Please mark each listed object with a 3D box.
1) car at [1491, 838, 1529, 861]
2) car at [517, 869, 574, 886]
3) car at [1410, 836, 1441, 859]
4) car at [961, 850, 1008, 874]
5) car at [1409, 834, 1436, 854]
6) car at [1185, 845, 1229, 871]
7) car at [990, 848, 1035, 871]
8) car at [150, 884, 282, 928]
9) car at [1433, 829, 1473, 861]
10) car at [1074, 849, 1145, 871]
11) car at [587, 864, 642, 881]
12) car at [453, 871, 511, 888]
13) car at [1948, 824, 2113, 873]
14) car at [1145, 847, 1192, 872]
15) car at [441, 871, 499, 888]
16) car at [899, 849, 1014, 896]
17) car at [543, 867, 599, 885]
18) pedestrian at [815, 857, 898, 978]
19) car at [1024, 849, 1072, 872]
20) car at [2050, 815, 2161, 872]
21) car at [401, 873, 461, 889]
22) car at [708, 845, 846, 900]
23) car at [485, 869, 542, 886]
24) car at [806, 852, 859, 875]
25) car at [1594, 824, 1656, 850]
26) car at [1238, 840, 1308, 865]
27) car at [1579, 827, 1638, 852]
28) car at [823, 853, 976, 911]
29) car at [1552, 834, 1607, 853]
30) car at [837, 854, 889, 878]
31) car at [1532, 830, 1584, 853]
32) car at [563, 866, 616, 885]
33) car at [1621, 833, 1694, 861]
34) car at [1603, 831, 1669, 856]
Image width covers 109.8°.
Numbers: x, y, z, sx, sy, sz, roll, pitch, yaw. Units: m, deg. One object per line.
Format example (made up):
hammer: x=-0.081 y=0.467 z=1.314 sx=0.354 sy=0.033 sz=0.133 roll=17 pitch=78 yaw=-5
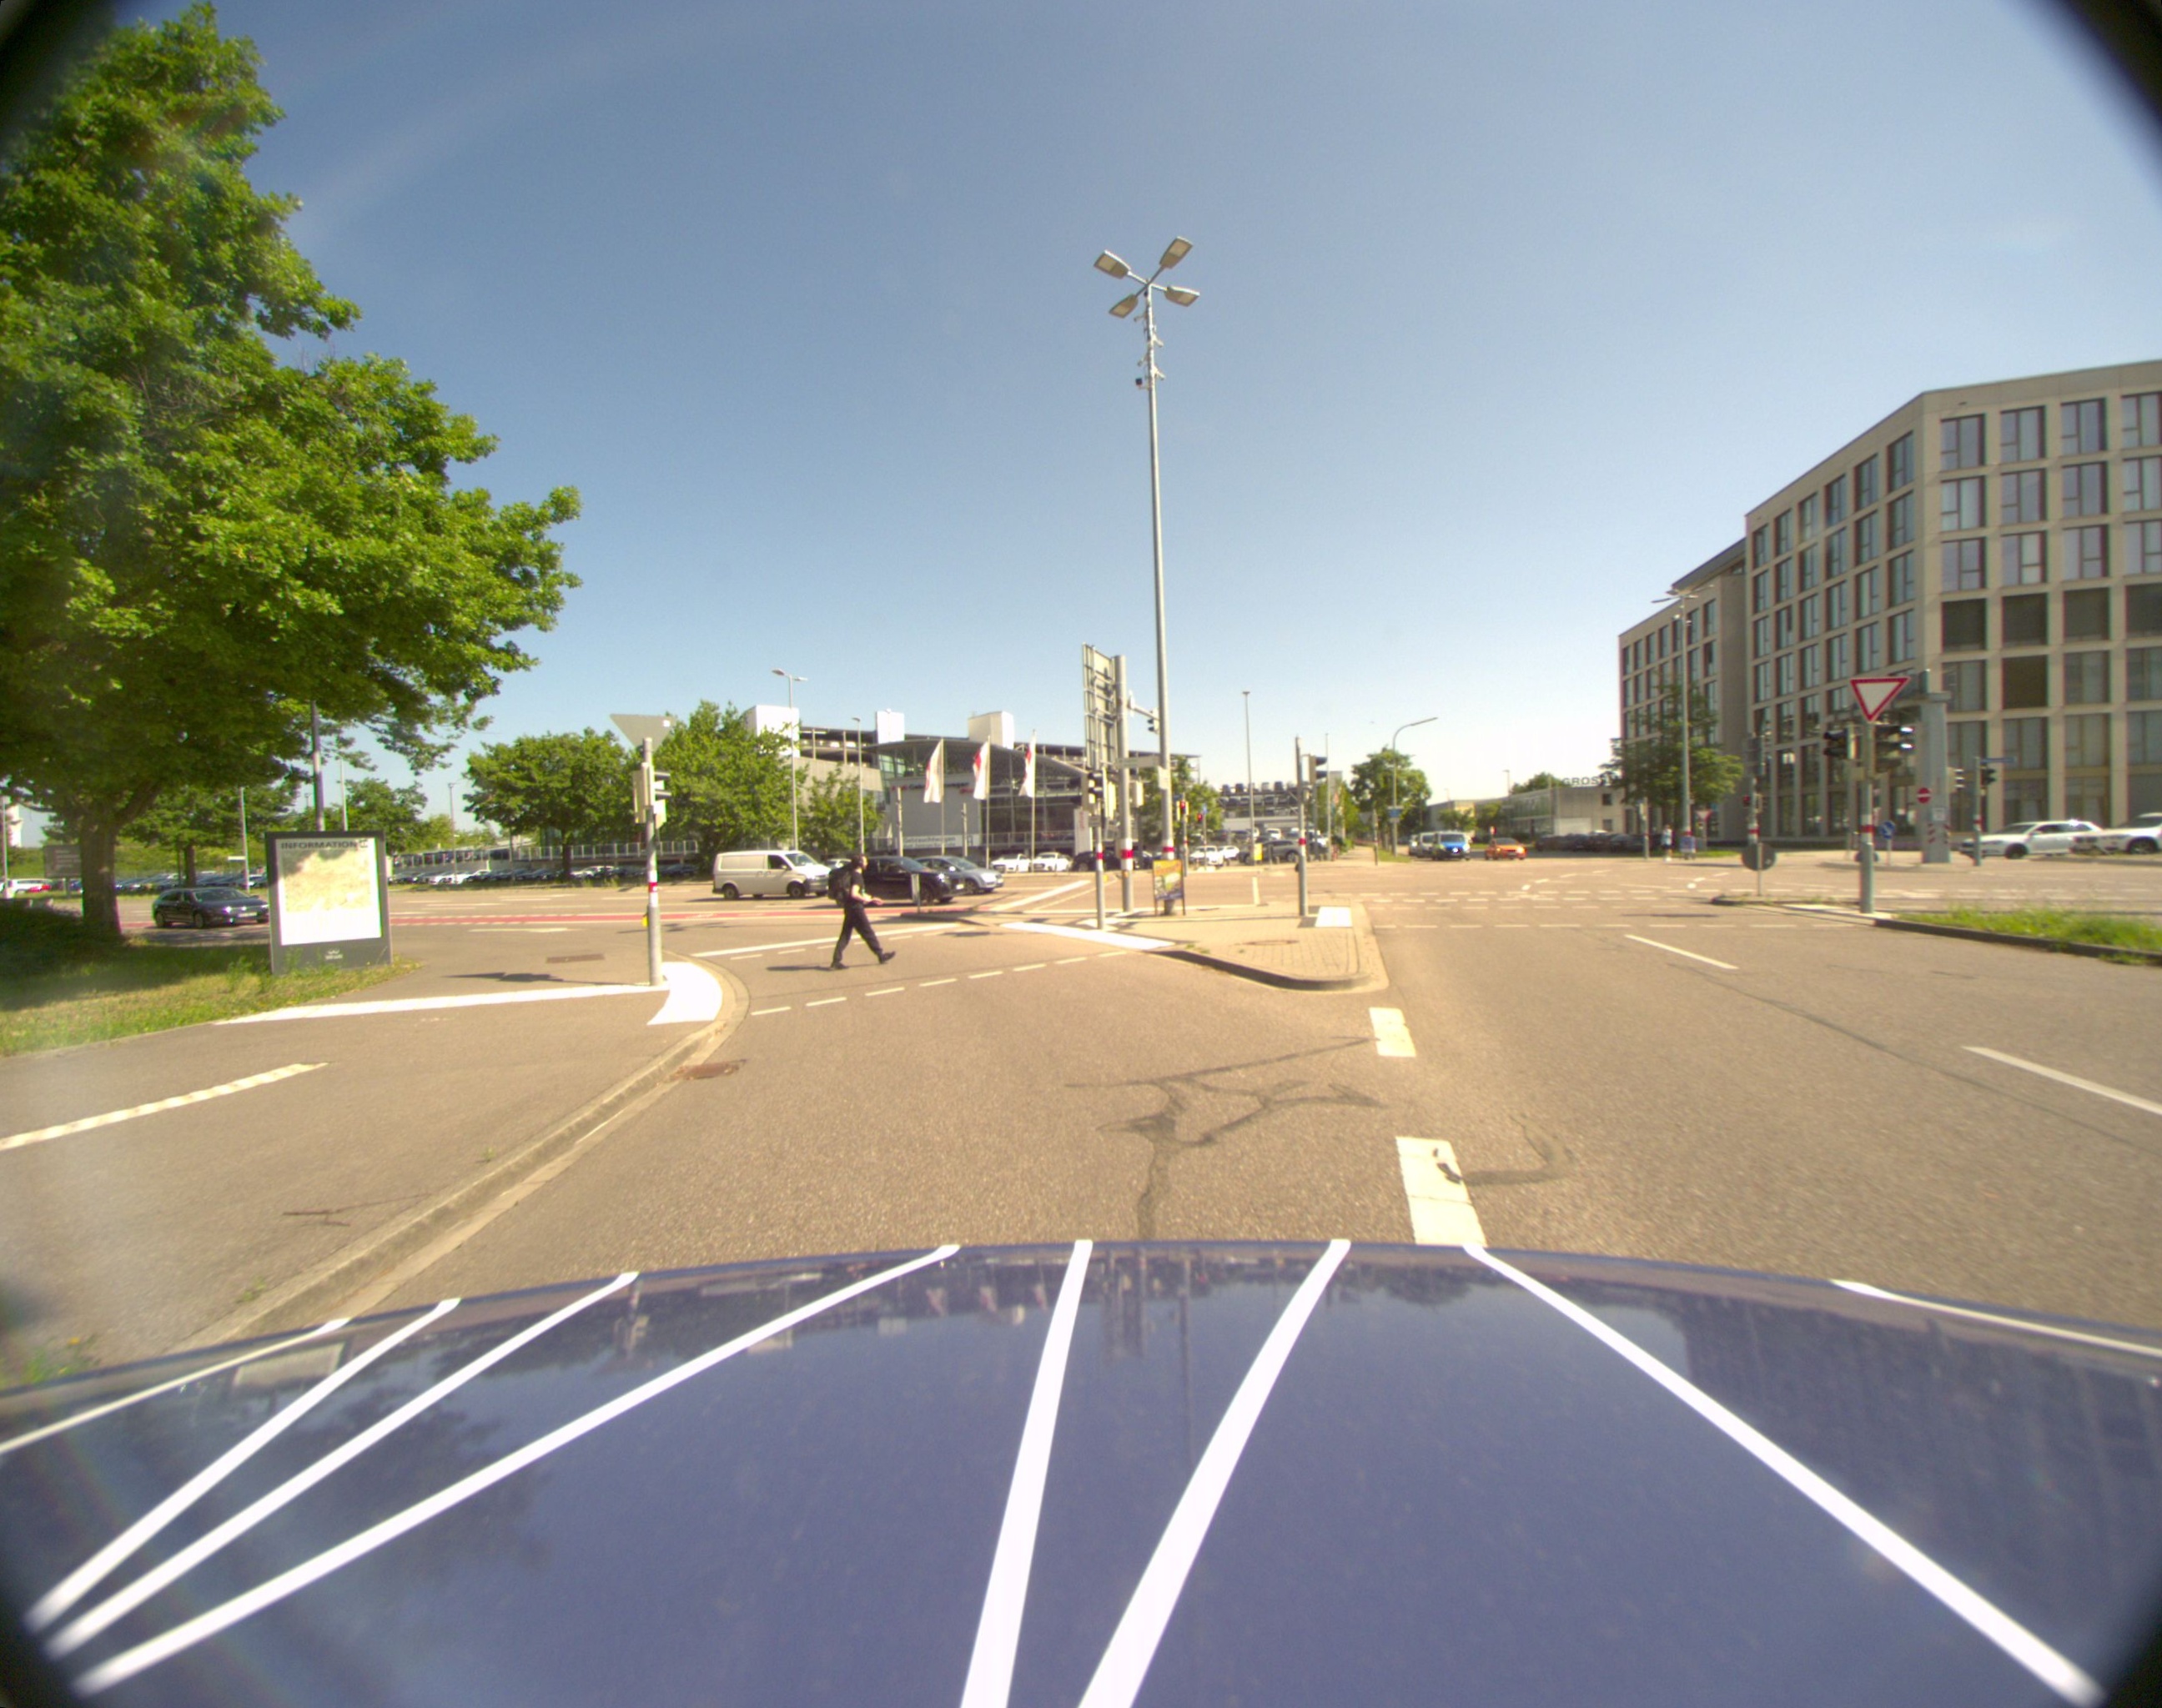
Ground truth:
car: x=27.100 y=-0.297 z=48.057 sx=1.736 sy=1.356 sz=3.872 roll=-2 pitch=0 yaw=25
car: x=-43.410 y=1.886 z=61.700 sx=1.592 sy=1.242 sz=3.422 roll=-2 pitch=0 yaw=22
car: x=25.242 y=-0.477 z=55.742 sx=1.664 sy=1.548 sz=3.859 roll=-2 pitch=1 yaw=18
car: x=-6.566 y=0.511 z=51.955 sx=1.885 sy=1.537 sz=3.892 roll=-2 pitch=0 yaw=14
car: x=28.332 y=-0.844 z=63.069 sx=1.910 sy=1.485 sz=3.870 roll=-2 pitch=1 yaw=23
car: x=8.071 y=0.232 z=48.386 sx=1.884 sy=1.452 sz=4.005 roll=-2 pitch=1 yaw=21
car: x=-4.576 y=0.330 z=51.444 sx=1.783 sy=1.462 sz=3.892 roll=-2 pitch=0 yaw=14
car: x=-32.817 y=1.941 z=28.839 sx=4.229 sy=1.456 sz=1.774 roll=-1 pitch=2 yaw=19
car: x=24.090 y=-0.580 z=49.320 sx=2.182 sy=1.898 sz=4.738 roll=-2 pitch=0 yaw=25
car: x=1.911 y=0.408 z=50.551 sx=4.343 sy=1.342 sz=1.823 roll=-2 pitch=0 yaw=14
car: x=-36.846 y=1.458 z=60.113 sx=1.592 sy=1.242 sz=3.422 roll=-2 pitch=0 yaw=20
car: x=-49.599 y=2.067 z=63.012 sx=1.592 sy=1.242 sz=3.422 roll=-2 pitch=0 yaw=20
car: x=37.166 y=-0.217 z=29.846 sx=3.760 sy=1.703 sz=1.835 roll=-2 pitch=1 yaw=11
car: x=5.672 y=0.335 z=48.909 sx=1.995 sy=1.452 sz=4.006 roll=-2 pitch=0 yaw=21
car: x=-51.533 y=2.140 z=64.169 sx=1.592 sy=1.242 sz=3.422 roll=-2 pitch=0 yaw=20
car: x=-4.690 y=0.702 z=28.703 sx=3.822 sy=1.603 sz=1.762 roll=-2 pitch=2 yaw=22
car: x=-41.072 y=1.755 z=61.287 sx=1.592 sy=1.242 sz=3.422 roll=-2 pitch=0 yaw=20
pedestrian: x=-3.478 y=0.942 z=11.814 sx=0.704 sy=1.769 sz=0.961 roll=-1 pitch=1 yaw=41
car: x=-2.154 y=0.410 z=50.938 sx=2.001 sy=1.413 sz=4.119 roll=-2 pitch=0 yaw=16
car: x=37.455 y=-0.421 z=26.443 sx=4.304 sy=1.827 sz=2.028 roll=-2 pitch=1 yaw=12
car: x=-54.752 y=2.262 z=64.042 sx=1.592 sy=1.242 sz=3.422 roll=-2 pitch=0 yaw=20
car: x=-12.190 y=0.738 z=30.519 sx=4.991 sy=1.996 sz=1.742 roll=-2 pitch=2 yaw=15
car: x=-46.978 y=1.968 z=62.963 sx=1.592 sy=1.242 sz=3.422 roll=-2 pitch=0 yaw=20
car: x=-17.842 y=0.662 z=54.712 sx=1.783 sy=1.564 sz=3.892 roll=-2 pitch=0 yaw=14
car: x=43.752 y=-1.340 z=61.128 sx=3.989 sy=2.002 sz=2.004 roll=-1 pitch=1 yaw=37
car: x=13.125 y=-0.119 z=51.842 sx=4.473 sy=1.578 sz=1.982 roll=-2 pitch=0 yaw=17
car: x=44.625 y=-1.242 z=64.270 sx=3.989 sy=2.002 sz=2.004 roll=-1 pitch=1 yaw=37
car: x=-5.932 y=0.905 z=24.962 sx=4.495 sy=1.618 sz=1.717 roll=-3 pitch=2 yaw=15
car: x=44.981 y=-0.946 z=68.621 sx=3.989 sy=1.605 sz=2.004 roll=-1 pitch=1 yaw=37
car: x=-15.564 y=0.860 z=54.429 sx=1.783 sy=1.564 sz=3.892 roll=-2 pitch=0 yaw=14
car: x=44.922 y=-1.181 z=71.595 sx=3.989 sy=2.002 sz=2.004 roll=-1 pitch=1 yaw=37
car: x=-39.206 y=1.697 z=60.720 sx=1.638 sy=1.317 sz=3.175 roll=-2 pitch=0 yaw=20
car: x=41.570 y=-0.494 z=54.913 sx=3.990 sy=1.728 sz=2.003 roll=-3 pitch=1 yaw=31
car: x=42.353 y=-0.772 z=58.018 sx=3.989 sy=1.816 sz=2.004 roll=-1 pitch=1 yaw=37
